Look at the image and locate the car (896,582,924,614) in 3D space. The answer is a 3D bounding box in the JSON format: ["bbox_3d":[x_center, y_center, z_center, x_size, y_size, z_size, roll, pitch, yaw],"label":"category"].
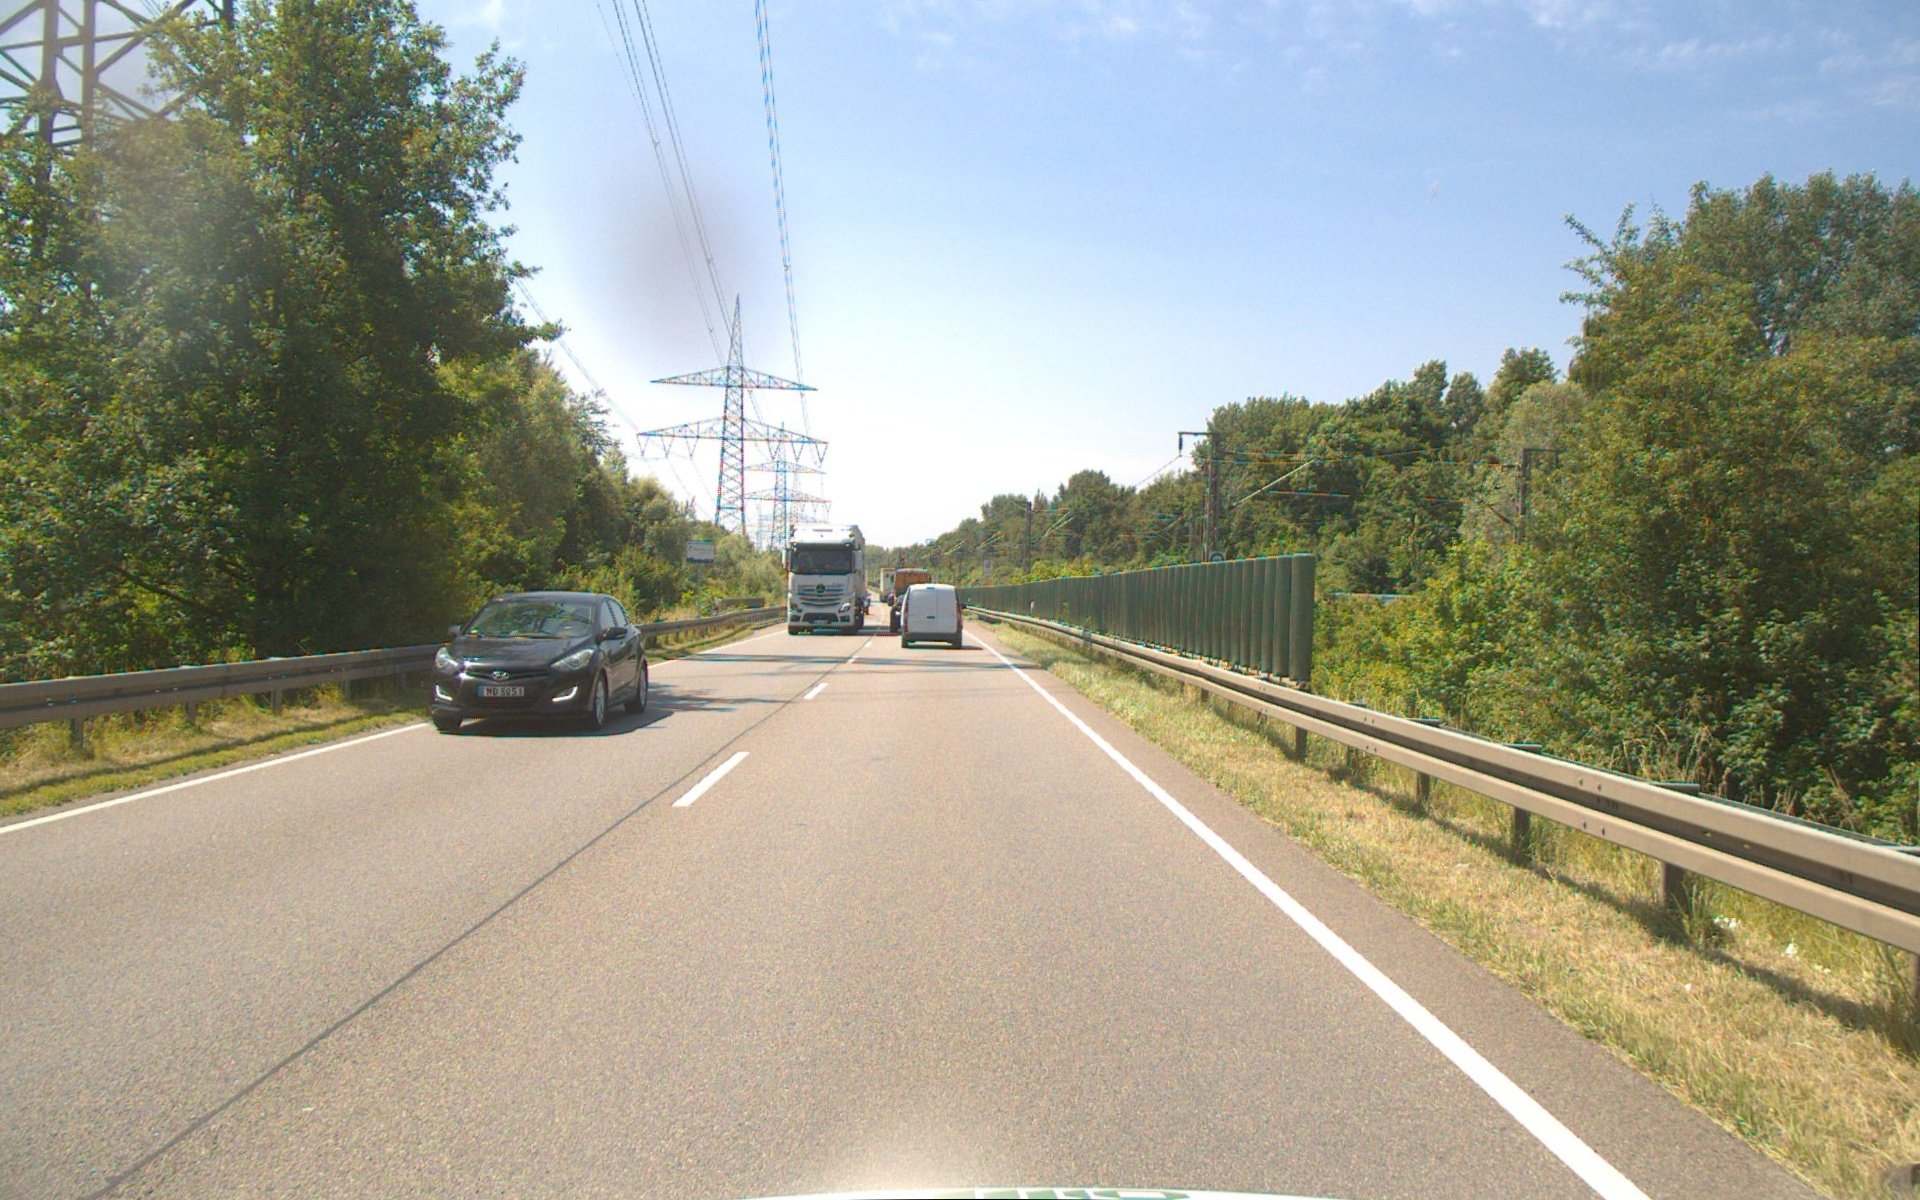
[{"bbox_3d":[-3.409,-0.137,111.377,1.728,2.048,3.998,3,0,-2],"label":"car"}]

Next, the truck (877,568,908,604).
[{"bbox_3d":[-8.403,-1.859,204.926,3.335,3.921,16.808,4,1,-3],"label":"truck"}]

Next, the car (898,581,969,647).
[{"bbox_3d":[-0.806,0.368,47.798,1.838,1.772,3.997,2,0,-3],"label":"car"}]

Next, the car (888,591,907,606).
[{"bbox_3d":[-6.484,-0.197,172.460,1.953,1.553,3.999,1,0,-2],"label":"car"}]

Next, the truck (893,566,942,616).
[{"bbox_3d":[-3.276,-0.754,122.965,3.231,3.226,14.399,4,1,-2],"label":"truck"}]

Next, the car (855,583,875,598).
[{"bbox_3d":[-9.904,-1.006,172.816,1.953,1.553,3.999,1,0,-2],"label":"car"}]

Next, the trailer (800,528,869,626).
[{"bbox_3d":[-5.520,-1.005,73.992,2.664,4.113,9.072,0,0,-2],"label":"trailer"}]

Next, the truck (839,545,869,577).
[{"bbox_3d":[-13.861,-5.150,218.006,3.335,3.921,16.811,4,1,-2],"label":"truck"}]

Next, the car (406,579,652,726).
[{"bbox_3d":[-4.763,0.522,18.858,1.764,1.480,4.000,1,0,0],"label":"car"}]

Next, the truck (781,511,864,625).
[{"bbox_3d":[-5.239,-1.202,64.592,2.687,4.113,9.661,0,0,-2],"label":"truck"}]
